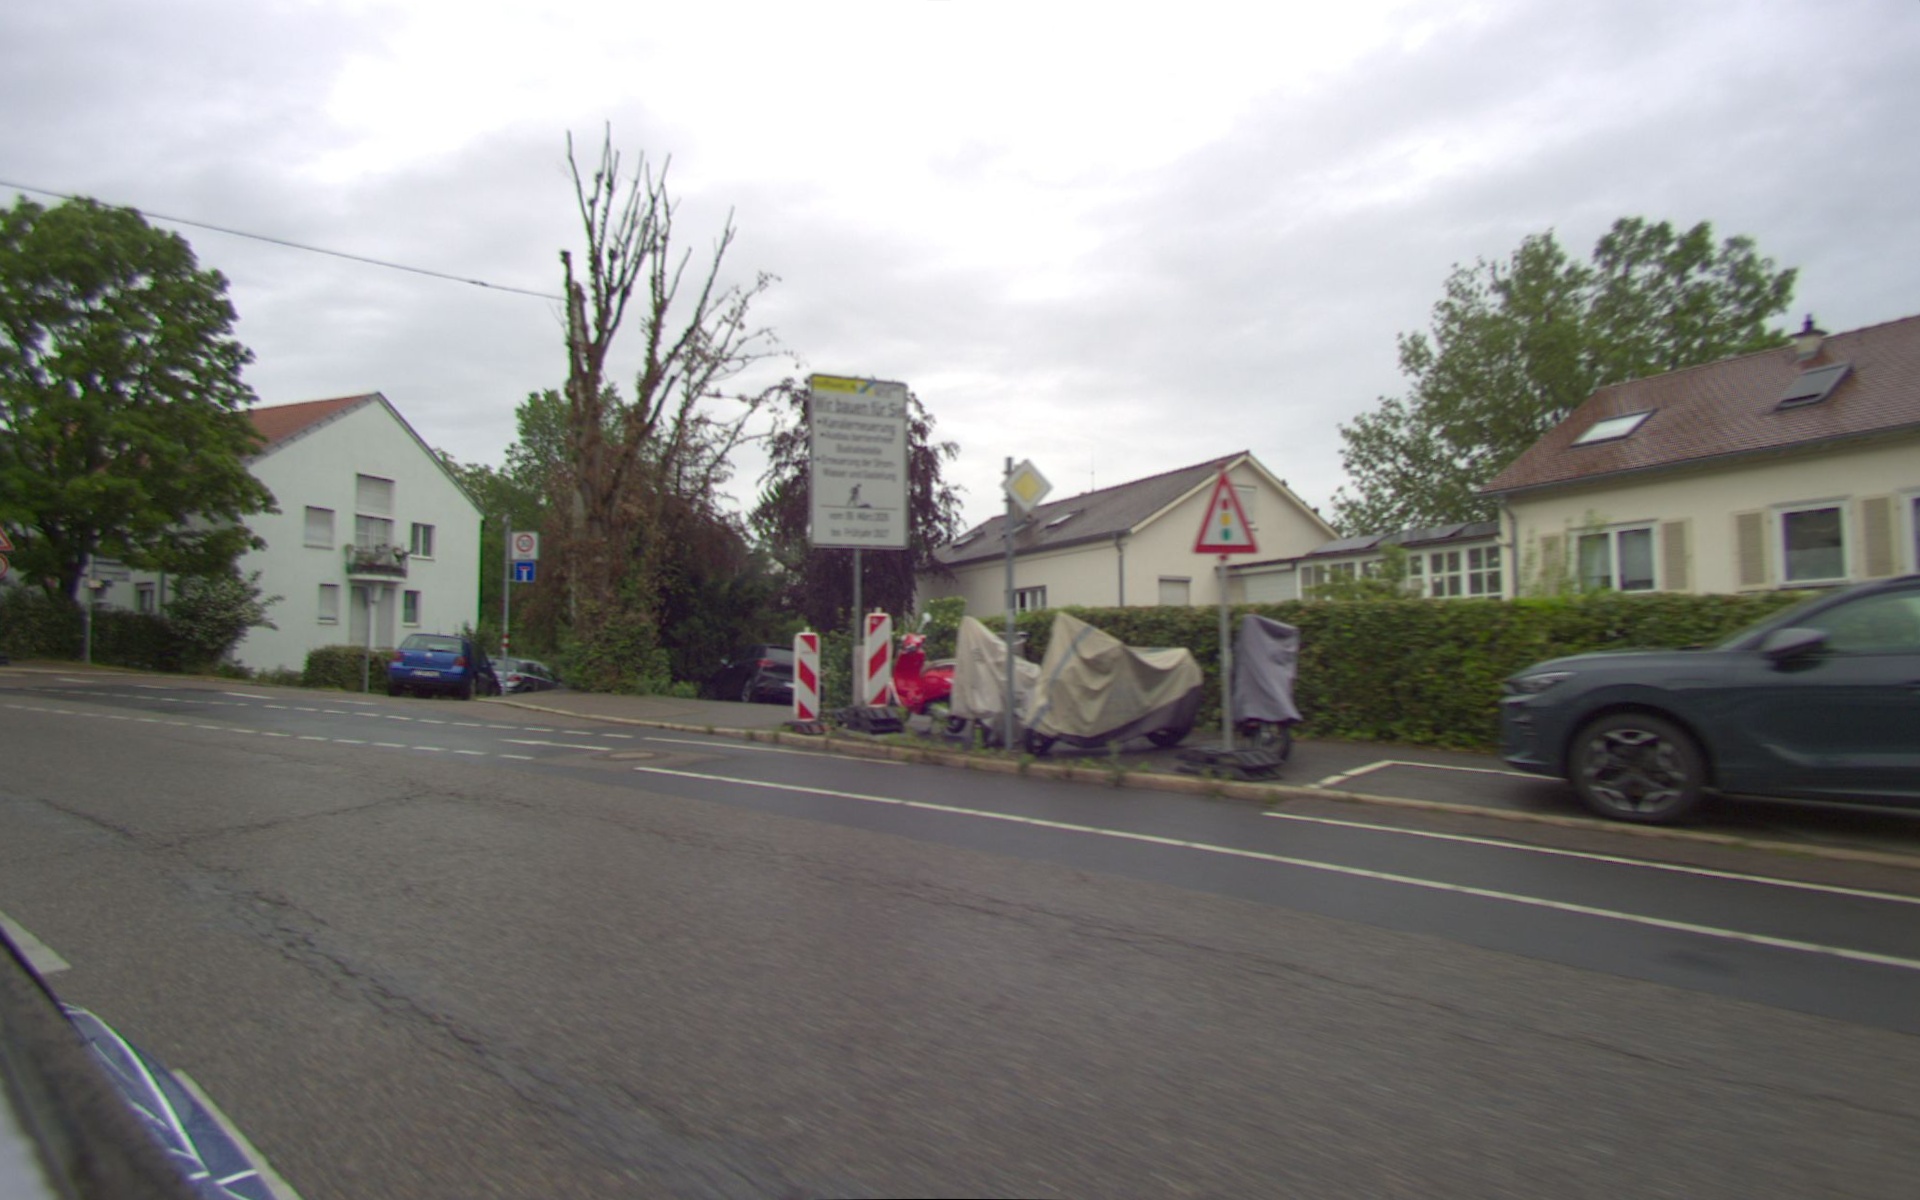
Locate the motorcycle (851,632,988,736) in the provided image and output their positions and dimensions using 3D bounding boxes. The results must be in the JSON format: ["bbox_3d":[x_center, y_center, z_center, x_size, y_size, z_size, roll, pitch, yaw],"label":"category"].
[{"bbox_3d":[-0.520,0.966,12.091,0.503,1.148,1.924,4,-5,-41],"label":"motorcycle"}]

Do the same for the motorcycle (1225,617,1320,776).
[{"bbox_3d":[2.805,0.812,9.246,0.569,1.281,1.900,-1,-1,10],"label":"motorcycle"}]

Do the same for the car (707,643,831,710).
[{"bbox_3d":[-4.378,1.688,22.817,1.528,1.337,3.573,4,-4,-31],"label":"car"}]

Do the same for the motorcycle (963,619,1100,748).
[{"bbox_3d":[0.811,0.858,11.043,0.511,1.289,1.782,-2,-2,41],"label":"motorcycle"}]

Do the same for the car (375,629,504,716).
[{"bbox_3d":[-11.825,1.595,23.245,1.811,1.678,3.954,4,-2,-16],"label":"car"}]

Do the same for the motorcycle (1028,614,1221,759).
[{"bbox_3d":[1.628,0.815,10.014,1.776,1.313,0.615,-1,-1,-20],"label":"motorcycle"}]

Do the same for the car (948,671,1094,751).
[{"bbox_3d":[1.497,2.821,26.227,1.758,1.653,3.954,4,-2,-31],"label":"car"}]

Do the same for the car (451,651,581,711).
[{"bbox_3d":[-12.693,2.284,29.241,1.817,1.505,4.079,3,-3,1],"label":"car"}]

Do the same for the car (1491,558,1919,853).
[{"bbox_3d":[5.879,0.558,6.096,4.388,1.589,1.900,-2,-1,43],"label":"car"}]
